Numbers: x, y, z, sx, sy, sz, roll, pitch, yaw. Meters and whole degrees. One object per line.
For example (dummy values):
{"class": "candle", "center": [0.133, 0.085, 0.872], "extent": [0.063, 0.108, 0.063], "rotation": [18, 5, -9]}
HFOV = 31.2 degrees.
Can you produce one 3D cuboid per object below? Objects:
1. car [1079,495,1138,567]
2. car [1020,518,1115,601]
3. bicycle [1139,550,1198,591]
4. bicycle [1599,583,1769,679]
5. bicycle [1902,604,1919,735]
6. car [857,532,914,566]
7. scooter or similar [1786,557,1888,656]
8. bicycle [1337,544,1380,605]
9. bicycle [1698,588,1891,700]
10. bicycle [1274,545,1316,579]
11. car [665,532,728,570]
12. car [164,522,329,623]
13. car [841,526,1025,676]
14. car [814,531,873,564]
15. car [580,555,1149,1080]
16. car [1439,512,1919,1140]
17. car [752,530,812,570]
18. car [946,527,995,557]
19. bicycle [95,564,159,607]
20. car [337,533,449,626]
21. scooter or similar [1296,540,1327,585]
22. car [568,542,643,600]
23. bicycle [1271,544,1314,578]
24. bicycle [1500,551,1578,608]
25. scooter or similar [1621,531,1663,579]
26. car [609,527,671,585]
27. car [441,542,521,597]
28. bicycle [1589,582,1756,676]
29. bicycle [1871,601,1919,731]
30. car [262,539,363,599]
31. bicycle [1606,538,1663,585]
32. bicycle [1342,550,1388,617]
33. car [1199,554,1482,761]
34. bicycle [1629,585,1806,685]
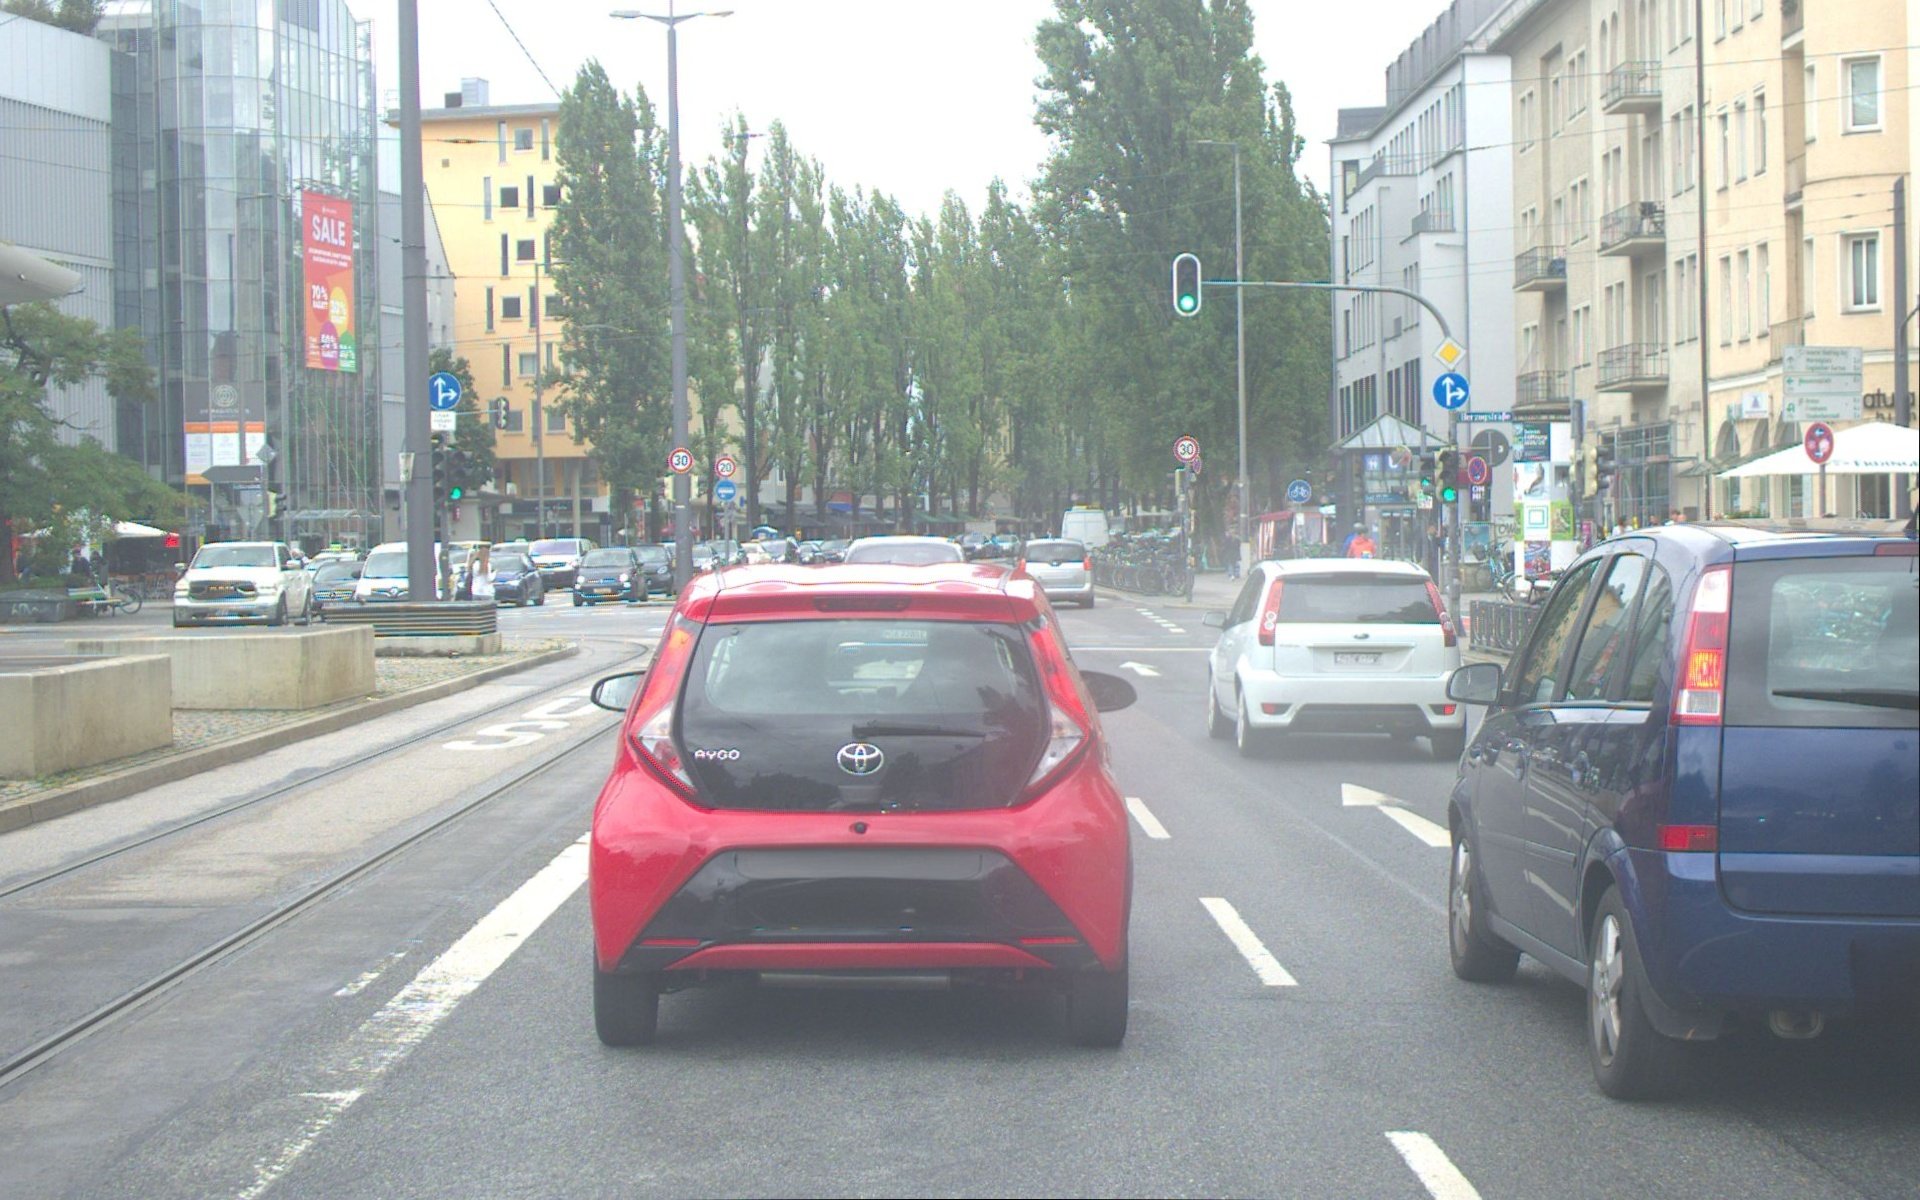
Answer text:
{"class": "car", "center": [5.775, -2.708, 134.295], "extent": [2.107, 2.709, 4.804], "rotation": [-1, 1, 1]}
{"class": "car", "center": [2.434, -0.945, 78.827], "extent": [1.993, 1.831, 4.000], "rotation": [-1, 1, 0]}
{"class": "bicycle", "center": [5.283, -0.749, 87.219], "extent": [0.498, 1.025, 1.601], "rotation": [-2, 2, -42]}
{"class": "bicycle", "center": [7.688, 0.330, 36.548], "extent": [1.841, 0.992, 0.347], "rotation": [-1, 1, 44]}
{"class": "bicycle", "center": [8.076, 0.549, 25.951], "extent": [1.839, 0.992, 0.324], "rotation": [1, 3, 32]}
{"class": "car", "center": [-3.868, -2.648, 178.582], "extent": [1.994, 1.686, 4.919], "rotation": [1, 2, 10]}
{"class": "scooter or similar", "center": [9.833, 0.062, 38.593], "extent": [0.775, 1.071, 1.256], "rotation": [-1, 1, -2]}
{"class": "bicycle", "center": [8.550, -0.556, 73.799], "extent": [0.614, 1.260, 2.520], "rotation": [-1, 1, 0]}
{"class": "bicycle", "center": [7.991, 0.409, 32.965], "extent": [1.840, 0.992, 0.324], "rotation": [2, 3, 40]}
{"class": "bicycle", "center": [9.729, -1.106, 99.961], "extent": [1.181, 0.960, 0.369], "rotation": [-1, 1, 4]}
{"class": "car", "center": [-10.138, -1.901, 132.529], "extent": [1.993, 1.407, 4.168], "rotation": [-1, 1, 1]}
{"class": "car", "center": [-14.088, -0.578, 68.269], "extent": [2.175, 1.881, 6.157], "rotation": [-1, 1, -2]}
{"class": "car", "center": [-0.325, -0.029, 39.807], "extent": [1.993, 1.612, 4.000], "rotation": [-1, 1, -1]}
{"class": "car", "center": [-5.739, -2.590, 169.415], "extent": [1.994, 1.529, 4.586], "rotation": [-1, 1, 10]}
{"class": "car", "center": [-0.252, 0.596, 11.302], "extent": [1.605, 1.456, 3.130], "rotation": [0, 1, 1]}
{"class": "car", "center": [2.573, 0.541, 10.482], "extent": [1.703, 1.584, 3.556], "rotation": [1, 1, 0]}
{"class": "car", "center": [-8.031, -2.272, 155.550], "extent": [1.937, 1.733, 4.587], "rotation": [0, 2, 7]}
{"class": "car", "center": [0.633, -3.422, 202.998], "extent": [1.995, 1.722, 3.915], "rotation": [-1, 1, 14]}
{"class": "bicycle", "center": [-22.107, -0.391, 91.244], "extent": [1.574, 1.108, 0.373], "rotation": [0, 1, 4]}
{"class": "car", "center": [-11.903, -0.456, 72.361], "extent": [1.786, 1.849, 4.219], "rotation": [-2, 1, -3]}
{"class": "scooter or similar", "center": [9.444, -1.016, 92.290], "extent": [0.301, 1.172, 1.275], "rotation": [-1, 1, 30]}
{"class": "car", "center": [-9.208, -0.758, 89.163], "extent": [1.545, 1.440, 3.540], "rotation": [-1, 1, -12]}
{"class": "bicycle", "center": [9.721, -1.136, 100.504], "extent": [1.181, 0.960, 0.369], "rotation": [-1, 1, -1]}
{"class": "bicycle", "center": [12.497, -0.436, 74.231], "extent": [1.568, 1.156, 0.525], "rotation": [-2, 3, 3]}
{"class": "scooter or similar", "center": [14.978, -0.992, 75.503], "extent": [0.820, 0.991, 0.593], "rotation": [-1, 4, 2]}
{"class": "car", "center": [-8.801, -1.210, 94.468], "extent": [1.503, 1.529, 2.838], "rotation": [-1, 2, -9]}
{"class": "car", "center": [-12.694, -0.821, 91.299], "extent": [1.677, 1.391, 4.233], "rotation": [-1, 1, -2]}
{"class": "bicycle", "center": [7.709, 0.316, 37.266], "extent": [1.841, 0.992, 0.347], "rotation": [-1, 1, 44]}
{"class": "bicycle", "center": [7.974, 0.534, 26.602], "extent": [1.841, 0.992, 0.324], "rotation": [2, 3, 42]}
{"class": "car", "center": [-15.657, -0.777, 83.340], "extent": [1.672, 1.374, 4.614], "rotation": [-2, 1, -2]}
{"class": "bicycle", "center": [15.484, -0.892, 79.002], "extent": [0.494, 1.055, 1.867], "rotation": [-1, 1, -15]}
{"class": "bicycle", "center": [8.076, -0.338, 68.603], "extent": [0.614, 1.260, 2.520], "rotation": [-1, 1, 0]}
{"class": "car", "center": [2.809, 0.385, 26.016], "extent": [1.699, 1.421, 3.497], "rotation": [-1, 1, -1]}
{"class": "bicycle", "center": [7.743, 0.359, 35.194], "extent": [1.841, 0.992, 0.347], "rotation": [-1, 1, 44]}
